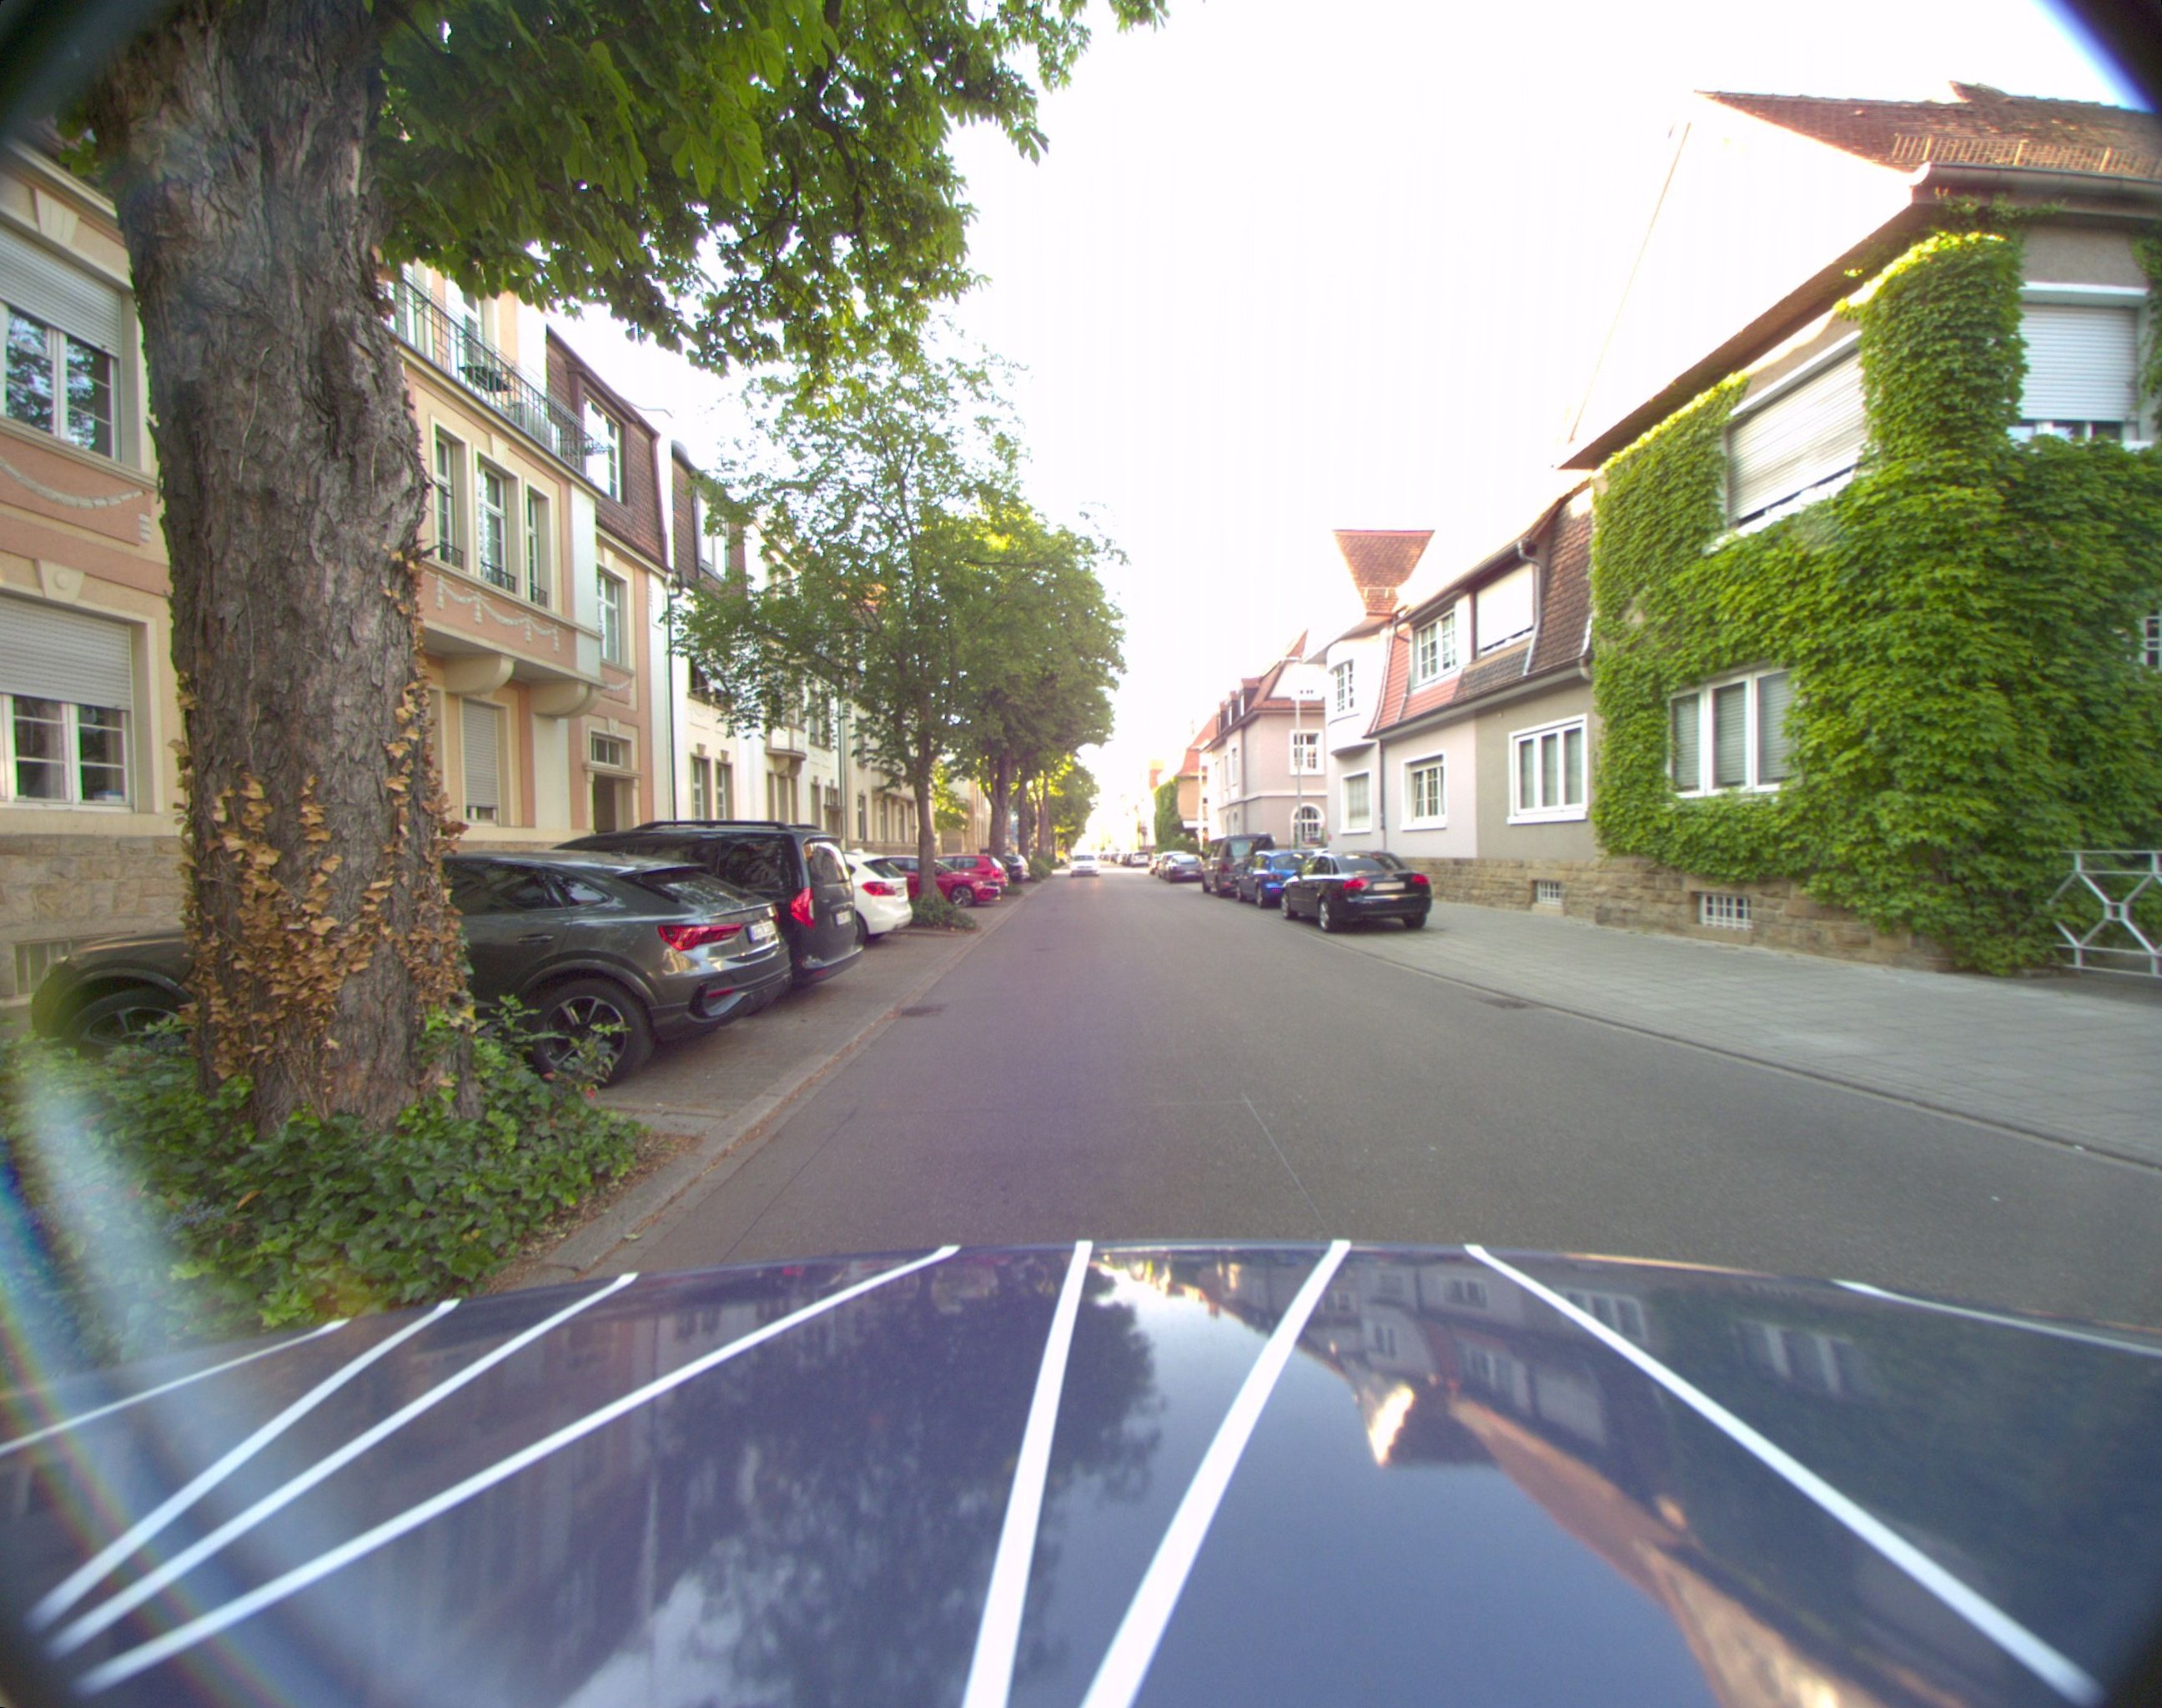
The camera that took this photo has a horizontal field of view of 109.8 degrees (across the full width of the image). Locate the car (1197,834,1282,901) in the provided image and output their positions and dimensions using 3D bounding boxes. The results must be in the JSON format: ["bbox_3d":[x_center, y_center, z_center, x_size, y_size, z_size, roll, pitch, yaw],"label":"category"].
[{"bbox_3d":[5.153,0.394,25.353,1.842,1.964,4.612,-3,0,0],"label":"car"}]

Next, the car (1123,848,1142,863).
[{"bbox_3d":[5.450,0.151,80.763,1.699,1.520,3.677,-3,0,2],"label":"car"}]

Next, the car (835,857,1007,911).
[{"bbox_3d":[-4.527,0.827,21.937,4.530,1.443,1.868,0,1,3],"label":"car"}]

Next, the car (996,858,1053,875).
[{"bbox_3d":[-3.506,0.776,47.642,3.399,1.057,1.542,0,1,2],"label":"car"}]

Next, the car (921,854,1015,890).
[{"bbox_3d":[-4.670,0.747,31.709,3.680,1.457,1.576,0,1,2],"label":"car"}]

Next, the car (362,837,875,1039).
[{"bbox_3d":[-4.431,0.753,7.831,4.121,1.827,1.844,0,1,-2],"label":"car"}]

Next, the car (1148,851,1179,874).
[{"bbox_3d":[5.449,0.535,50.382,1.662,1.354,3.677,-3,0,2],"label":"car"}]

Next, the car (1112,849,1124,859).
[{"bbox_3d":[5.567,-0.026,115.862,1.699,1.520,3.677,-3,0,2],"label":"car"}]

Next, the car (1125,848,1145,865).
[{"bbox_3d":[5.348,0.204,75.271,1.699,1.520,3.677,-3,0,2],"label":"car"}]

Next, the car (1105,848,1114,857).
[{"bbox_3d":[5.595,-0.320,149.120,1.699,1.520,3.677,-3,0,2],"label":"car"}]

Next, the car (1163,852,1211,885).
[{"bbox_3d":[5.070,0.646,36.666,1.932,1.376,4.063,-3,0,4],"label":"car"}]

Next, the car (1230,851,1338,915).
[{"bbox_3d":[5.288,0.681,20.341,1.768,1.438,4.062,-3,0,0],"label":"car"}]

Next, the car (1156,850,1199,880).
[{"bbox_3d":[5.293,0.561,42.143,1.932,1.458,4.062,-3,0,2],"label":"car"}]

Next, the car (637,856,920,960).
[{"bbox_3d":[-4.824,0.835,12.531,3.950,1.568,1.719,0,1,0],"label":"car"}]

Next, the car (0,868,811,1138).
[{"bbox_3d":[-4.531,0.891,5.468,4.522,1.514,1.844,0,1,-4],"label":"car"}]

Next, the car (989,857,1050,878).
[{"bbox_3d":[-3.556,0.779,44.436,3.399,1.143,1.542,0,1,2],"label":"car"}]

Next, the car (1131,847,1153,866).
[{"bbox_3d":[5.434,0.230,68.006,1.699,1.558,3.677,-3,0,2],"label":"car"}]

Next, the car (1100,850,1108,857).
[{"bbox_3d":[5.310,-0.091,173.290,1.699,1.520,3.677,-3,0,2],"label":"car"}]

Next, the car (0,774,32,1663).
[{"bbox_3d":[-4.589,0.778,0.520,4.763,1.864,1.896,0,1,-4],"label":"car"}]

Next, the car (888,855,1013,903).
[{"bbox_3d":[-4.132,0.781,24.465,3.680,1.473,1.659,0,1,3],"label":"car"}]

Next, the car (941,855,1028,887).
[{"bbox_3d":[-4.309,0.754,34.233,3.680,1.390,1.576,0,1,2],"label":"car"}]

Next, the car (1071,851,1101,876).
[{"bbox_3d":[0.334,0.564,48.273,1.819,1.454,4.072,-2,0,1],"label":"car"}]

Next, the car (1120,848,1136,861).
[{"bbox_3d":[5.579,0.054,91.009,1.699,1.520,3.677,-3,0,2],"label":"car"}]

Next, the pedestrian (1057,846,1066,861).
[{"bbox_3d":[-2.537,-0.045,98.160,1.119,1.926,1.097,-3,1,-1],"label":"pedestrian"}]

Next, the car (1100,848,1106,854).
[{"bbox_3d":[5.872,-0.788,202.671,1.699,1.520,3.677,-3,0,2],"label":"car"}]

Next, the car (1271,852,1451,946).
[{"bbox_3d":[5.137,0.728,14.641,1.806,1.438,4.428,-3,0,0],"label":"car"}]

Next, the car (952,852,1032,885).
[{"bbox_3d":[-4.272,0.665,36.839,3.680,1.548,1.576,0,1,2],"label":"car"}]
